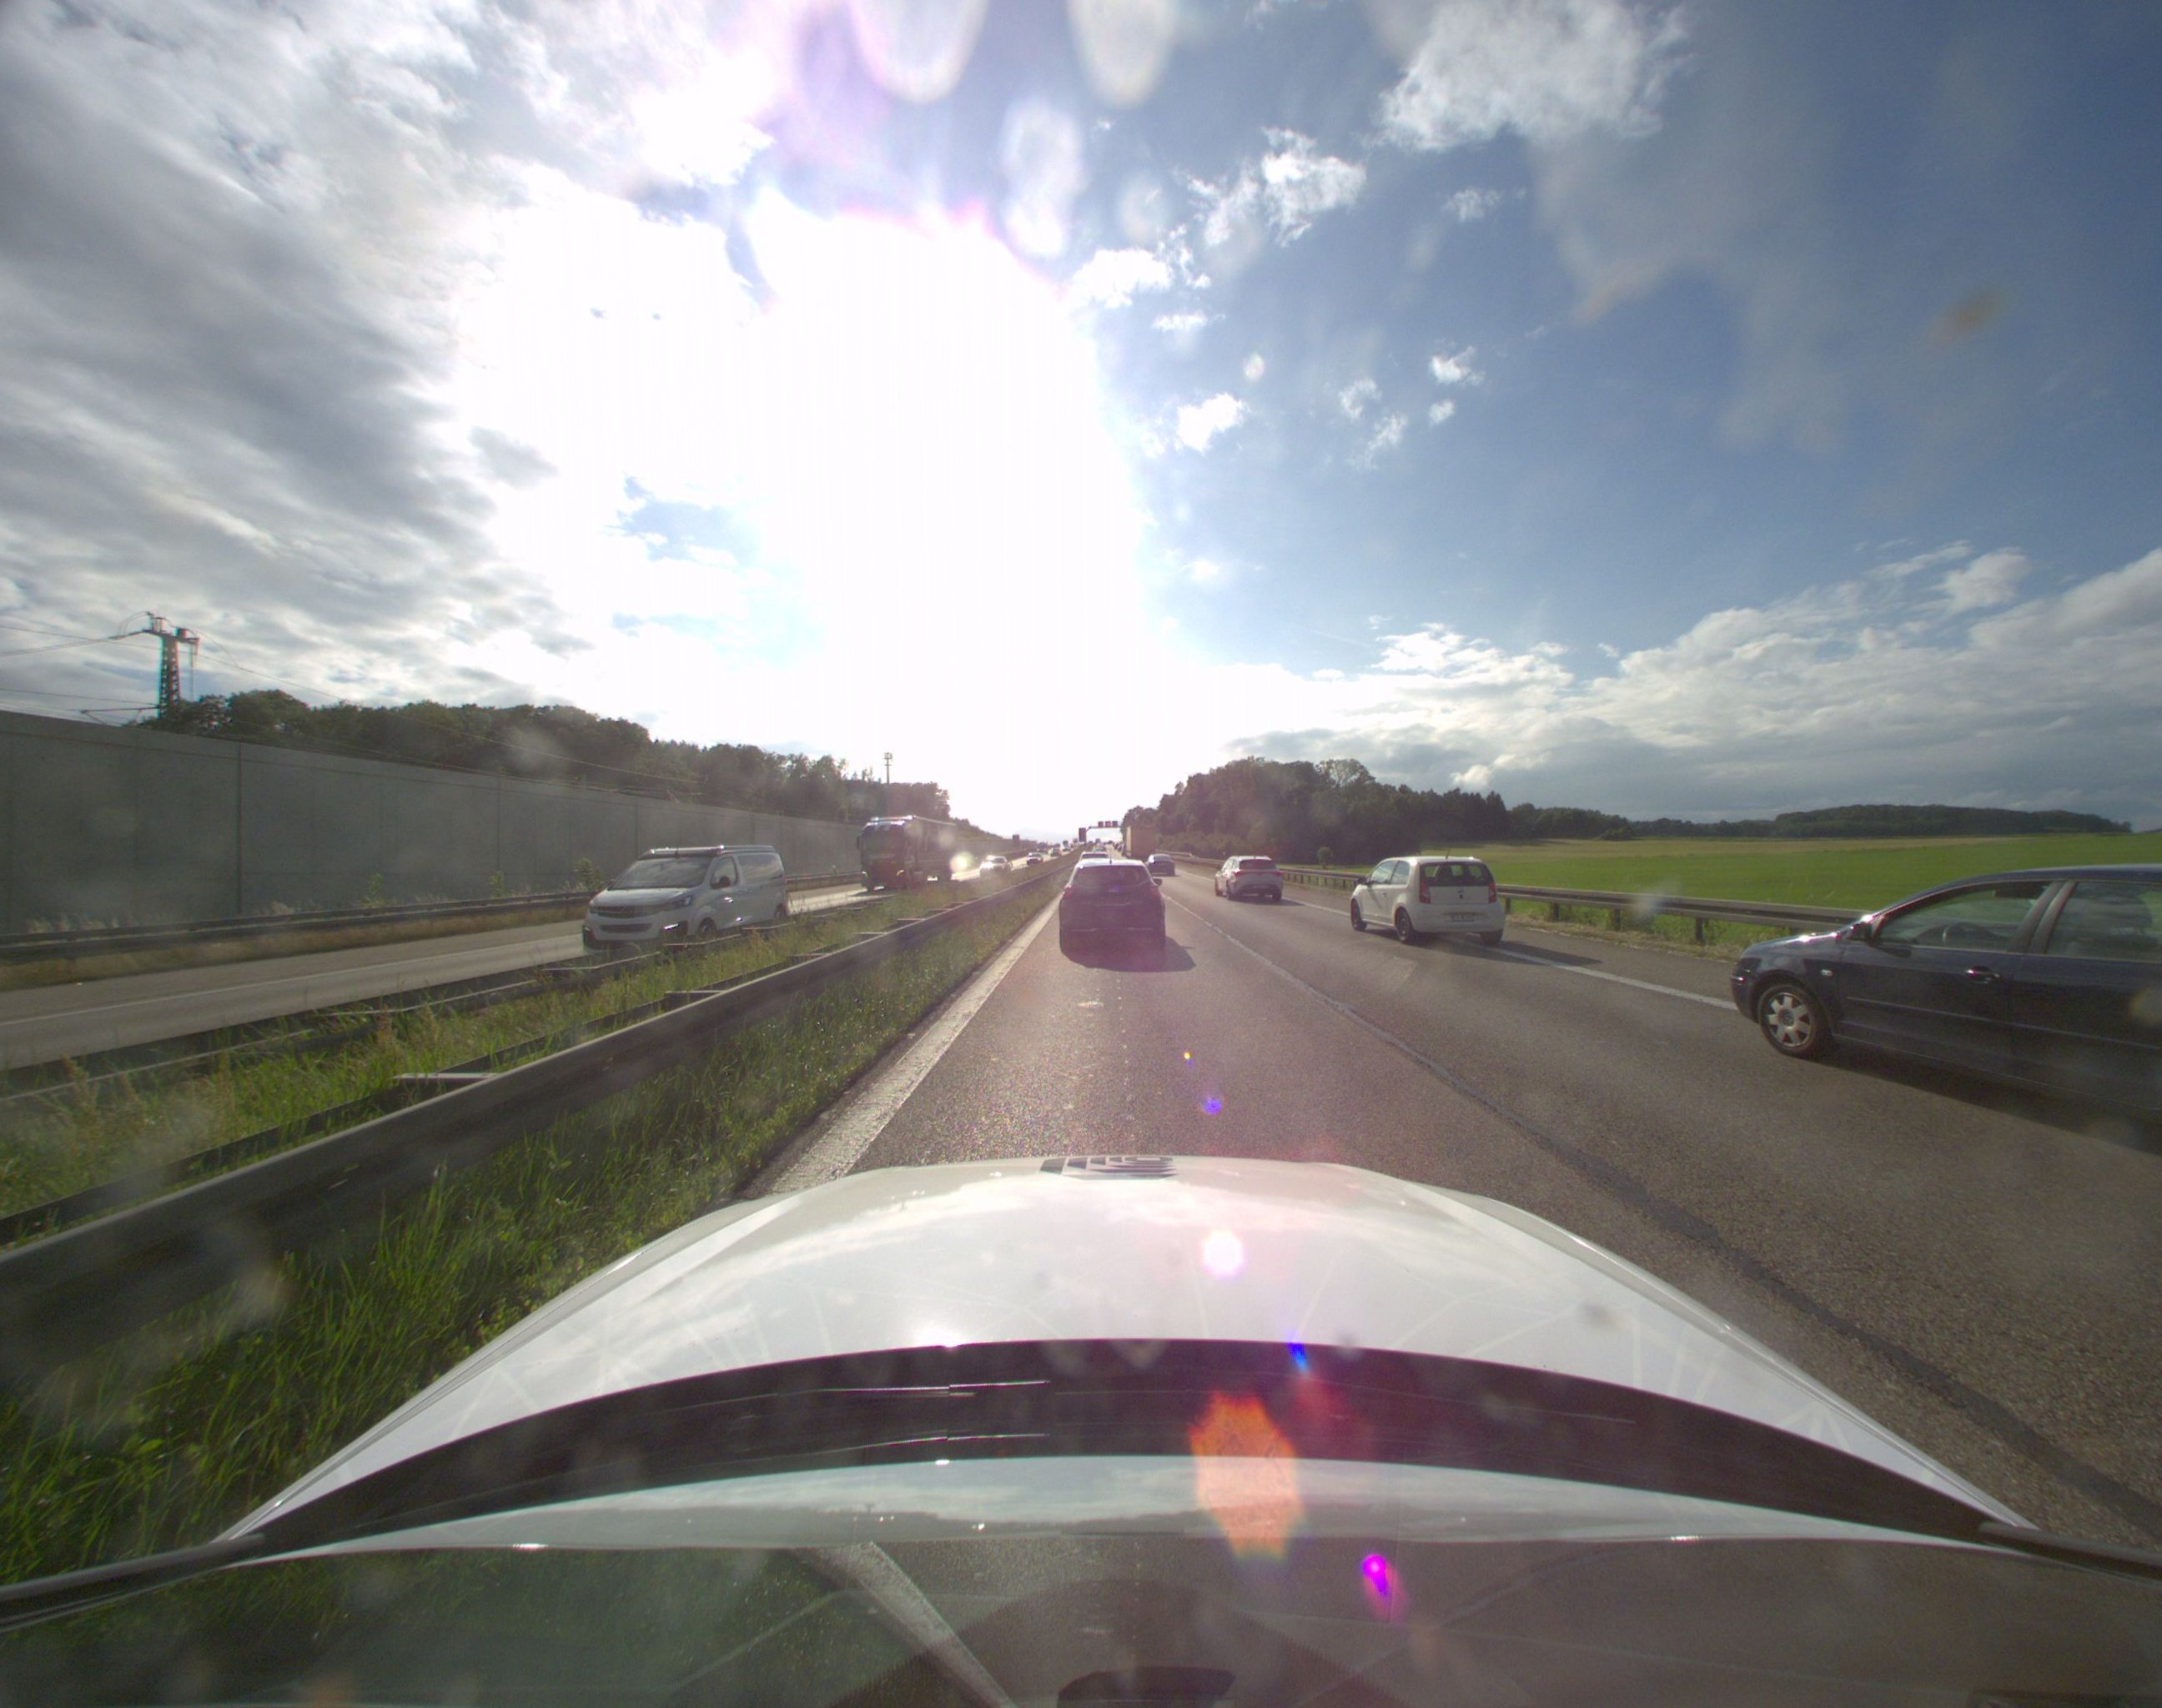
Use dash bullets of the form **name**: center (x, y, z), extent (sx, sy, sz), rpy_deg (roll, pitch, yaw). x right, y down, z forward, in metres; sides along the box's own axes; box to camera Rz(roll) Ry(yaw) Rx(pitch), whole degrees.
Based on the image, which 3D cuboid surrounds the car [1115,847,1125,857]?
- **car**: center (8.103, -0.329, 168.281), extent (1.987, 2.014, 4.000), rpy_deg (0, -1, 1)

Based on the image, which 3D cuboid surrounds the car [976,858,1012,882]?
- **car**: center (-6.143, 1.134, 58.048), extent (1.881, 1.632, 5.112), rpy_deg (0, -1, 1)

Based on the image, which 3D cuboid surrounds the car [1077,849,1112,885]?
- **car**: center (0.723, 0.666, 41.036), extent (1.667, 1.726, 3.598), rpy_deg (-1, -1, 2)

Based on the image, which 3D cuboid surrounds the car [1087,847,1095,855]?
- **car**: center (2.648, -0.740, 206.500), extent (1.987, 2.014, 4.000), rpy_deg (0, -1, 1)

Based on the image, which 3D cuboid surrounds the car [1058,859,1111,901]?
- **car**: center (0.176, 0.865, 28.206), extent (1.667, 1.367, 3.598), rpy_deg (-1, -1, 2)

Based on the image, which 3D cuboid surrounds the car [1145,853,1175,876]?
- **car**: center (5.263, 0.694, 54.713), extent (1.740, 1.475, 4.149), rpy_deg (-1, -1, 2)

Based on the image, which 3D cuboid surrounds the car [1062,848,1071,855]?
- **car**: center (-3.450, -0.520, 190.401), extent (1.987, 1.593, 4.449), rpy_deg (0, -1, 1)

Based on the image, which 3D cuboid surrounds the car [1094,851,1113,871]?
- **car**: center (2.330, 0.780, 85.198), extent (1.987, 2.014, 4.000), rpy_deg (0, -1, 1)

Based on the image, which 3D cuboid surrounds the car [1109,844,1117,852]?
- **car**: center (8.982, -1.721, 229.830), extent (1.987, 2.014, 4.000), rpy_deg (0, -1, 1)

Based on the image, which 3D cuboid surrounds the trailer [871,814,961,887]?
- **trailer**: center (-10.322, -0.130, 52.657), extent (2.749, 4.115, 12.908), rpy_deg (-1, -1, 2)

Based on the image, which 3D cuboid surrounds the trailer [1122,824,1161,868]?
- **trailer**: center (6.529, -0.744, 89.270), extent (3.536, 4.457, 12.723), rpy_deg (0, -1, 1)

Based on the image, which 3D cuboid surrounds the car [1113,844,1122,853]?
- **car**: center (8.506, -1.196, 189.356), extent (1.987, 2.014, 4.000), rpy_deg (0, -1, 1)

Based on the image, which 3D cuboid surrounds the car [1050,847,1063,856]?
- **car**: center (-4.172, -0.368, 140.001), extent (1.987, 1.433, 4.449), rpy_deg (0, -1, 1)

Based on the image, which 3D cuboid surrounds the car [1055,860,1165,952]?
- **car**: center (0.547, 0.833, 14.438), extent (1.703, 1.426, 3.380), rpy_deg (-1, -1, 3)

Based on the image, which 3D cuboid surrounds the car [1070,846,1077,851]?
- **car**: center (-2.146, -1.536, 230.096), extent (1.847, 1.433, 4.449), rpy_deg (-1, -1, 1)

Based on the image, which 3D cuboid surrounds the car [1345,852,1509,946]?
- **car**: center (6.103, 0.721, 14.754), extent (1.544, 1.495, 3.377), rpy_deg (-1, 0, 0)

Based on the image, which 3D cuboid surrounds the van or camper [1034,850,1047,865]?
- **van or camper**: center (-8.279, 0.780, 168.232), extent (2.218, 3.079, 6.513), rpy_deg (0, -1, 1)

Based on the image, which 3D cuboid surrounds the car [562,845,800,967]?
- **car**: center (-7.329, 0.878, 15.626), extent (1.986, 1.883, 4.788), rpy_deg (-3, -1, 2)

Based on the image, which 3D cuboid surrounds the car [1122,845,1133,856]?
- **car**: center (7.701, -0.551, 134.971), extent (1.660, 1.755, 3.329), rpy_deg (0, -1, 3)

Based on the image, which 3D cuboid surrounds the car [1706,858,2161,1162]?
- **car**: center (5.995, 0.749, 4.812), extent (1.704, 1.445, 3.773), rpy_deg (-1, -1, 0)

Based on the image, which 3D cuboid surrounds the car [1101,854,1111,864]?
- **car**: center (4.490, 0.841, 146.375), extent (1.660, 1.755, 3.329), rpy_deg (0, -1, 3)

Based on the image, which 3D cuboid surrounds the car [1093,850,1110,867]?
- **car**: center (2.480, 0.604, 100.207), extent (1.987, 2.014, 4.000), rpy_deg (0, -1, 1)

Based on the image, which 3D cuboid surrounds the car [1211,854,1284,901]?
- **car**: center (5.560, 0.760, 27.648), extent (1.615, 1.445, 4.146), rpy_deg (-1, -1, 0)

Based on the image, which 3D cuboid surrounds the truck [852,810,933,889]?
- **truck**: center (-10.497, -0.198, 46.159), extent (2.744, 4.090, 6.955), rpy_deg (-1, -1, 2)

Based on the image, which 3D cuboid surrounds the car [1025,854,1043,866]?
- **car**: center (-5.598, 0.725, 97.399), extent (1.895, 1.464, 4.184), rpy_deg (0, -1, 1)
